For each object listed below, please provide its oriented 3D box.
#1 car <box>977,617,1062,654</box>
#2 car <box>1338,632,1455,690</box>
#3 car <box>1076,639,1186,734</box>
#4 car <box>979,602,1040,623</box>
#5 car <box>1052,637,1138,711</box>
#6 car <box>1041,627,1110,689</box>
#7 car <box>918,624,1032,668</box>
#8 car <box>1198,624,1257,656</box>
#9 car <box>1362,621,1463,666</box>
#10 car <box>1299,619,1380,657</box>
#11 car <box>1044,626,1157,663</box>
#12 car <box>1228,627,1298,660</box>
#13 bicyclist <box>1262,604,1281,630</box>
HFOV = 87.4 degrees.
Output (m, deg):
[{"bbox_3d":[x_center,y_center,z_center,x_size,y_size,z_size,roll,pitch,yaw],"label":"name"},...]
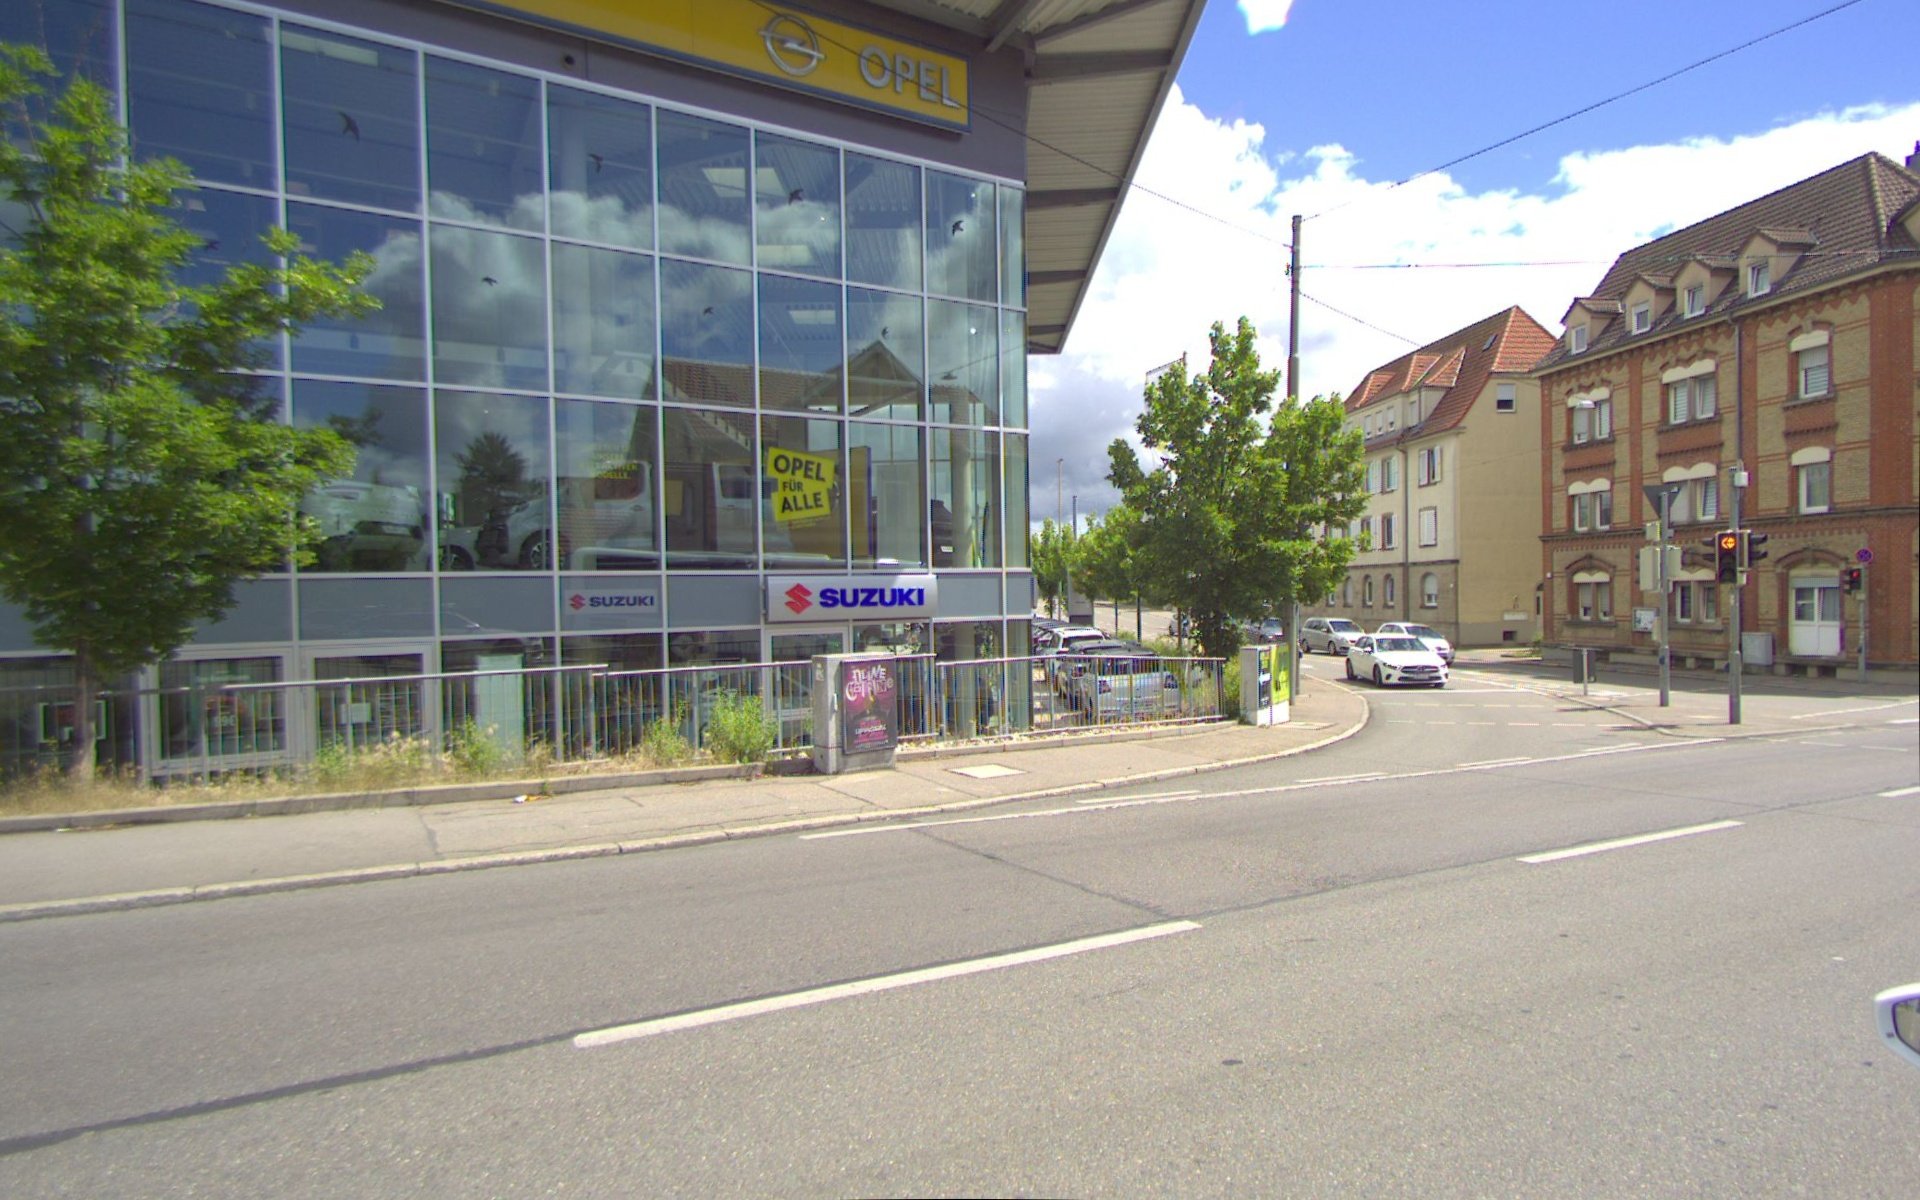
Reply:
[{"bbox_3d":[2.650,1.583,45.868,1.974,1.599,4.476,1,-1,-26],"label":"car"},{"bbox_3d":[12.370,1.682,28.773,1.825,1.466,4.394,1,-1,6],"label":"car"},{"bbox_3d":[3.396,1.685,20.551,1.720,1.596,3.687,2,-1,2],"label":"car"},{"bbox_3d":[3.212,0.832,66.194,3.921,1.311,1.818,1,-1,0],"label":"car"},{"bbox_3d":[3.232,1.751,24.699,1.487,1.543,3.792,1,-1,-2],"label":"car"},{"bbox_3d":[3.281,1.630,29.093,1.487,1.596,3.414,1,-1,-2],"label":"car"},{"bbox_3d":[0.579,1.684,37.133,3.919,1.478,1.605,1,-1,15],"label":"car"},{"bbox_3d":[14.844,2.195,55.918,1.961,1.607,4.345,1,0,-2],"label":"car"},{"bbox_3d":[17.064,1.607,38.087,1.670,1.517,3.995,1,-1,-7],"label":"car"},{"bbox_3d":[16.738,1.641,44.512,1.715,1.539,3.996,1,-1,-7],"label":"car"},{"bbox_3d":[5.168,1.631,37.210,3.921,1.202,1.818,1,-1,0],"label":"car"},{"bbox_3d":[15.335,2.184,51.019,1.963,1.539,3.996,1,-1,-7],"label":"car"},{"bbox_3d":[18.969,1.038,61.185,0.581,1.519,1.069,1,-1,-21],"label":"bicyclist"}]
